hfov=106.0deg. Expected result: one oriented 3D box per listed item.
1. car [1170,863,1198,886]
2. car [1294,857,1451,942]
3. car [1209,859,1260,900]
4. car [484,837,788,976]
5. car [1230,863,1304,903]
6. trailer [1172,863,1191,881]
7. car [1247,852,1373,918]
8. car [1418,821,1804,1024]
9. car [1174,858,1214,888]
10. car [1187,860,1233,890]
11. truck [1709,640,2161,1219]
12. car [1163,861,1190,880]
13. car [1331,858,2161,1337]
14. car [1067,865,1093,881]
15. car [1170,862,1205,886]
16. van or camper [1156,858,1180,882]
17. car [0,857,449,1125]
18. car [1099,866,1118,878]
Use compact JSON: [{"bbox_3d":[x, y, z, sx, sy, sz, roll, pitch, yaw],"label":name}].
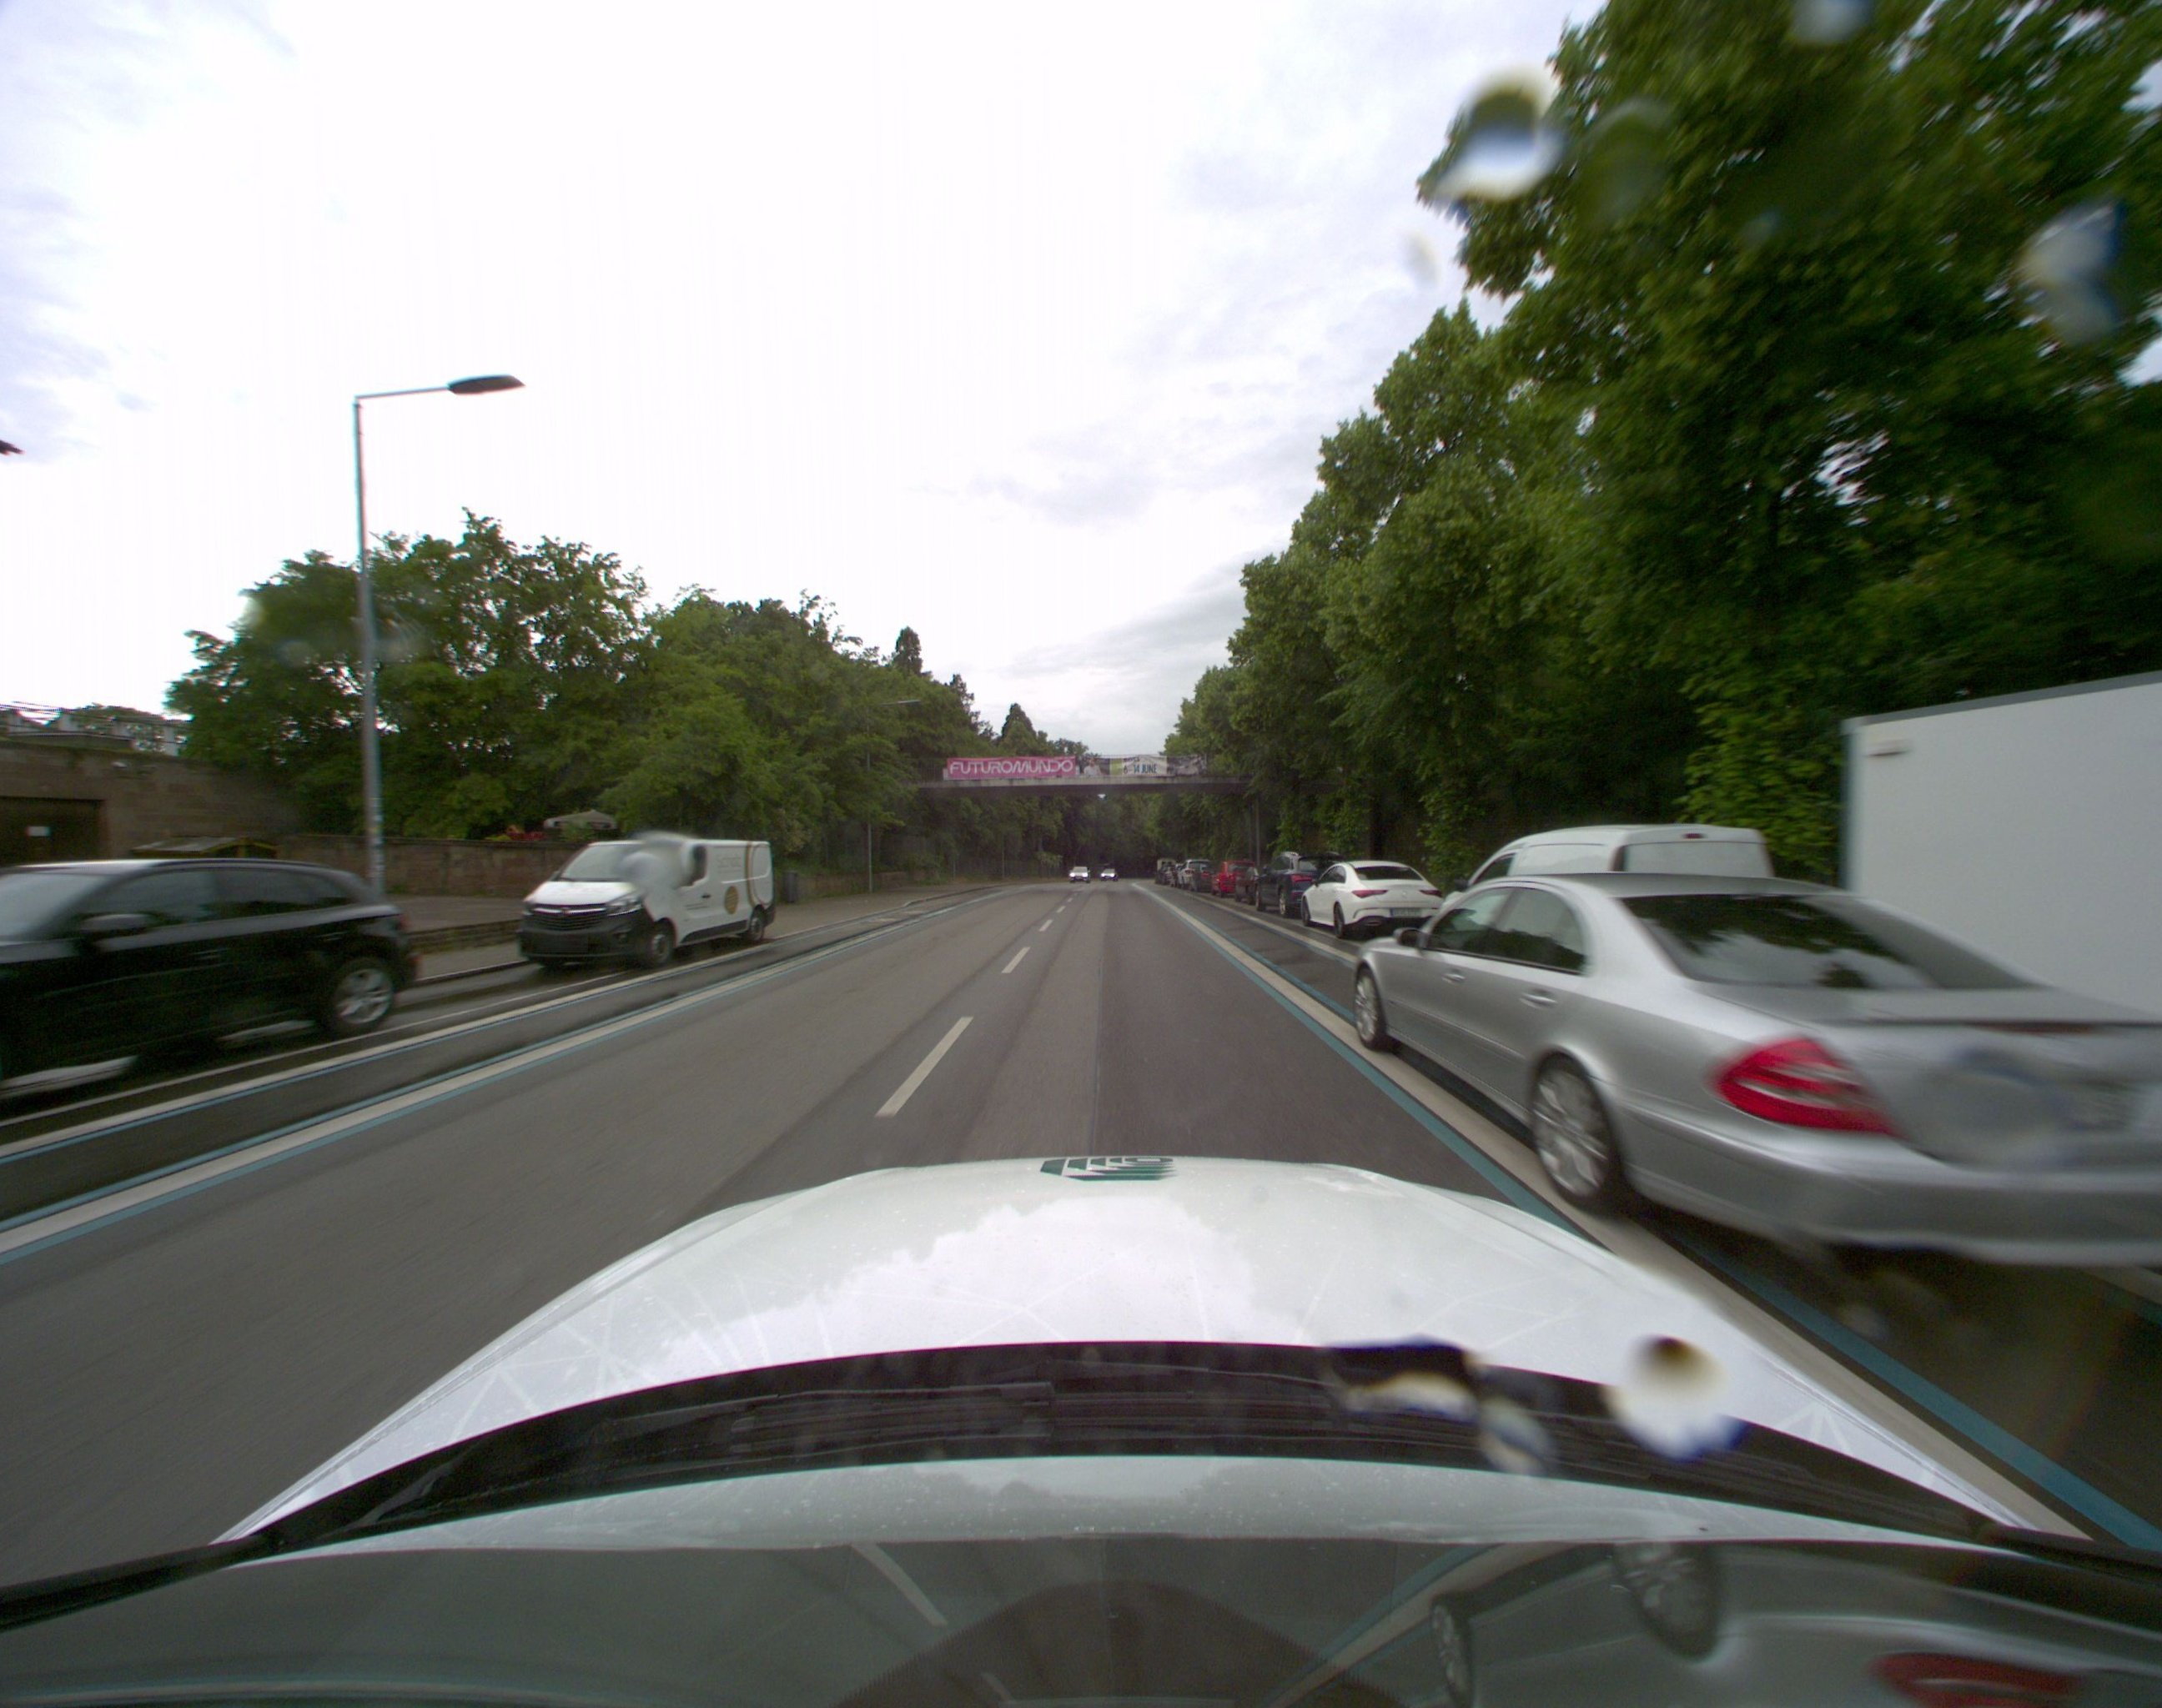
[{"bbox_3d":[7.149,1.412,56.819,1.655,1.535,3.742,1,-2,2],"label":"car"},{"bbox_3d":[5.580,0.786,16.220,1.653,1.426,4.621,0,0,2],"label":"car"},{"bbox_3d":[6.254,0.983,33.442,1.553,1.466,3.628,0,2,2],"label":"car"},{"bbox_3d":[-7.091,0.702,13.857,1.970,1.914,5.233,-1,1,4],"label":"car"},{"bbox_3d":[6.224,0.947,27.646,1.620,1.190,4.184,0,0,1],"label":"car"},{"bbox_3d":[15.003,2.675,121.387,2.301,2.672,5.393,0,-2,12],"label":"trailer"},{"bbox_3d":[5.916,0.723,21.657,1.988,1.560,4.640,0,0,-1],"label":"car"},{"bbox_3d":[5.572,0.596,9.354,1.715,1.790,4.347,0,0,2],"label":"car"},{"bbox_3d":[6.341,1.076,45.913,1.707,1.619,4.260,0,-2,1],"label":"car"},{"bbox_3d":[6.313,1.081,40.159,1.666,1.394,4.451,0,-2,1],"label":"car"},{"bbox_3d":[5.224,0.301,3.724,1.712,2.333,4.001,0,0,2],"label":"truck"},{"bbox_3d":[7.200,1.306,61.720,1.767,1.348,4.470,0,-2,4],"label":"car"},{"bbox_3d":[2.971,0.745,4.753,1.715,1.398,4.592,0,0,1],"label":"car"},{"bbox_3d":[-0.071,1.792,77.488,1.961,1.552,3.878,0,-1,8],"label":"car"},{"bbox_3d":[6.590,1.280,50.935,1.712,1.376,4.559,0,-3,1],"label":"car"},{"bbox_3d":[9.919,1.863,92.722,2.303,2.665,6.397,0,-2,9],"label":"van or camper"},{"bbox_3d":[-7.607,0.886,6.206,1.817,1.616,4.664,-1,0,1],"label":"car"},{"bbox_3d":[3.569,2.343,104.538,1.784,1.577,4.116,-1,-2,13],"label":"car"}]
